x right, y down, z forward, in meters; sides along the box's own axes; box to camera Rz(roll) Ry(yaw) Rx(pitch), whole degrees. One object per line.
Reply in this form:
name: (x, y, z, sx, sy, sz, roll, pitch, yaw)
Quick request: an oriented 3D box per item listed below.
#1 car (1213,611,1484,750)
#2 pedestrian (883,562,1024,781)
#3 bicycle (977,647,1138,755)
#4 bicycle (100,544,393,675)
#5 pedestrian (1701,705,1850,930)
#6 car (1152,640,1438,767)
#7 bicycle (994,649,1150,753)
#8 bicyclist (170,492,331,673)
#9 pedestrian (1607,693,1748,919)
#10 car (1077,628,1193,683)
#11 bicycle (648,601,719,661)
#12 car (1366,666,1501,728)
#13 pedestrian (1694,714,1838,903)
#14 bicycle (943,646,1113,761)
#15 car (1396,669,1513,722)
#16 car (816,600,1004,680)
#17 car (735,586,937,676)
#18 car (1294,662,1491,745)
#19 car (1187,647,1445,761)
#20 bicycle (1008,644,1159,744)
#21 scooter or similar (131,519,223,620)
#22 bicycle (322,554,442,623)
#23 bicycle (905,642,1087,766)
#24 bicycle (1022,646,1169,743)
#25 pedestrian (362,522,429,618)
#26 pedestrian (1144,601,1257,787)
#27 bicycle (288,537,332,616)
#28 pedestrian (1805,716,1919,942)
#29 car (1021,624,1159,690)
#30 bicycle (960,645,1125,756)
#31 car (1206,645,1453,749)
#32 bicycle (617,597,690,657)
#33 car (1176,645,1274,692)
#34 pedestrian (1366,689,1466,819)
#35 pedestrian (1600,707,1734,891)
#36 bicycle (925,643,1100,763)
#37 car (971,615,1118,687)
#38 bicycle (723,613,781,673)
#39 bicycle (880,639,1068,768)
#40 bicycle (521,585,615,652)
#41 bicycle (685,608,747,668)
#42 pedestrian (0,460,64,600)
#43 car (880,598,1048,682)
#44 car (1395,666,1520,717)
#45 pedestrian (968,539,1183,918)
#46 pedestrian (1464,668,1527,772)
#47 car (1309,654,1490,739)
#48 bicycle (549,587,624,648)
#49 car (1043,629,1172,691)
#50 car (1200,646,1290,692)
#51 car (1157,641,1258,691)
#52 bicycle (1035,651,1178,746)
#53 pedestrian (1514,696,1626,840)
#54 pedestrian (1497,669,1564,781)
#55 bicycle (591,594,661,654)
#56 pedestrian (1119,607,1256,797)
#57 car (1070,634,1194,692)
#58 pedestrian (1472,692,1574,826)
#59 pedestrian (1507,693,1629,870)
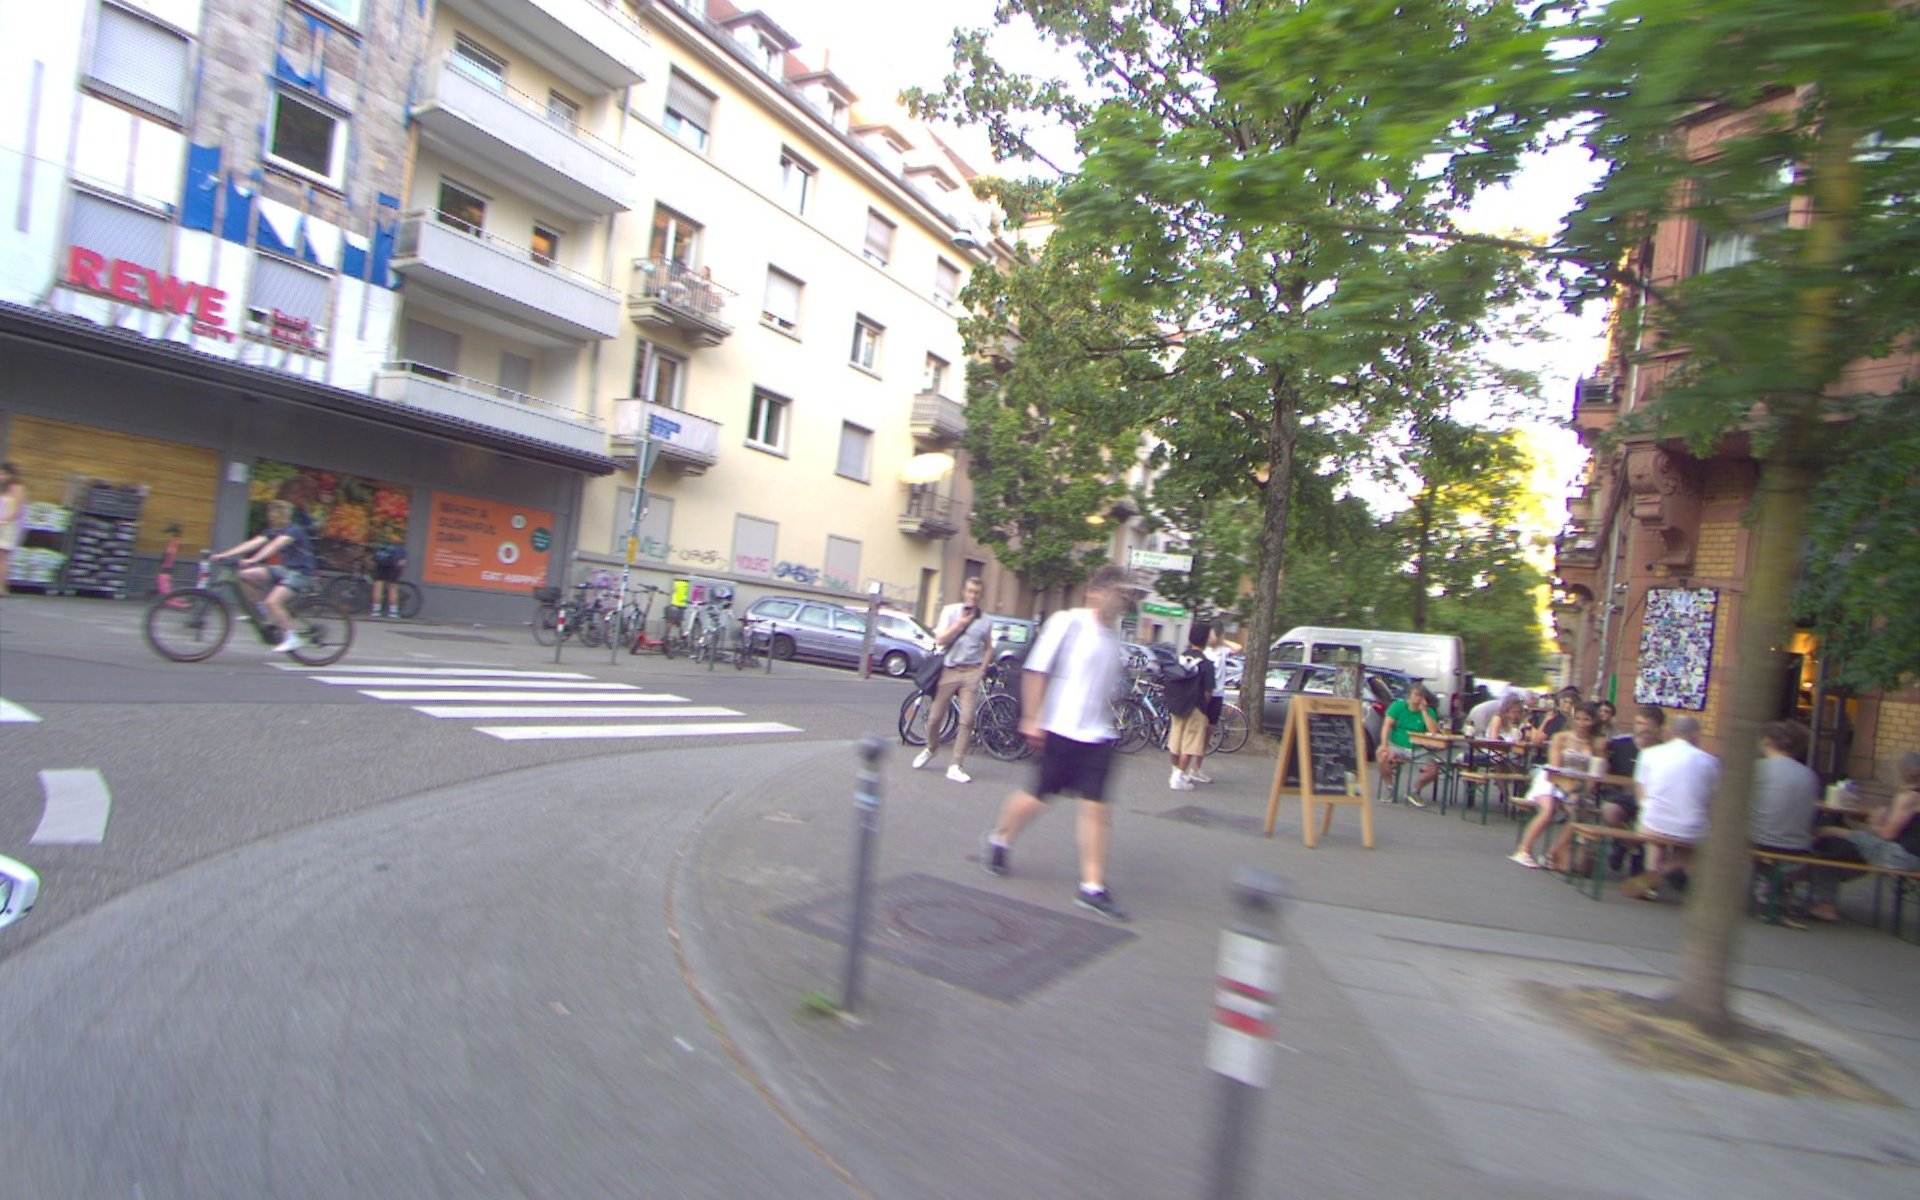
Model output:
car: (9.018, 1.814, 23.488, 5.449, 2.448, 2.244, 5, -2, 30)
pedestrian: (-0.044, 0.653, 9.281, 0.822, 1.849, 0.868, 6, -2, 25)
bicycle: (1.270, 1.313, 13.319, 2.000, 1.147, 0.435, 6, -2, 29)
bicycle: (-7.325, 0.147, 10.477, 0.778, 1.085, 2.280, 7, -1, 34)
pedestrian: (5.556, 1.452, 6.878, 0.458, 1.396, 0.547, 6, -1, 5)
car: (5.727, 1.723, 17.335, 4.224, 1.543, 1.907, 5, -3, 33)
bicycle: (1.509, 1.358, 13.735, 2.000, 1.147, 0.435, 6, -2, 29)
bicyclist: (-7.327, -0.166, 10.409, 0.778, 1.709, 0.995, 7, 0, 34)
pedestrian: (4.862, 1.367, 6.843, 0.458, 1.396, 0.547, 6, -1, 5)
car: (7.525, 2.407, 43.568, 4.463, 1.805, 2.000, 7, -2, -4)
bicycle: (-5.221, 0.616, 19.122, 0.482, 1.038, 2.018, 6, -2, 6)
car: (18.438, 3.760, 39.226, 4.469, 1.805, 1.998, 5, -2, 31)
pedestrian: (6.124, 1.561, 7.671, 0.563, 1.284, 0.547, 6, -1, 8)
bicycle: (0.822, 1.253, 12.483, 2.000, 1.147, 0.435, 6, -2, 29)
car: (22.369, 4.323, 45.542, 4.469, 1.805, 1.998, 5, -2, 31)
car: (-1.292, 1.076, 26.704, 4.458, 1.543, 2.002, 6, -2, 17)
car: (-2.929, 0.755, 24.102, 4.464, 1.543, 2.000, 7, -2, -6)
car: (11.477, 2.722, 26.766, 4.469, 1.543, 1.998, 5, -3, 31)
car: (6.762, 1.937, 19.233, 4.224, 1.543, 1.907, 5, -3, 33)
bicycle: (1.725, 1.314, 14.252, 2.000, 1.147, 0.435, 6, -2, 29)
scooter or similar: (-11.298, -0.448, 14.513, 1.265, 1.281, 0.322, 8, -1, 22)
bicycle: (-10.556, -0.189, 18.455, 0.371, 1.038, 1.880, 6, -3, 31)
bicycle: (0.389, 1.167, 11.610, 2.000, 1.147, 0.435, 6, -2, 29)
bicycle: (1.961, 1.362, 14.698, 2.000, 1.147, 0.435, 6, -2, 29)
pedestrian: (-10.181, -0.545, 18.139, 0.707, 1.619, 0.664, 5, -2, 37)
pedestrian: (2.596, 1.006, 10.961, 0.852, 1.849, 0.838, 6, -1, 2)
bicycle: (-10.804, -0.402, 16.699, 0.346, 1.217, 1.791, 7, -2, -38)
pedestrian: (6.246, 1.522, 6.775, 0.563, 1.396, 0.547, 6, -1, 14)
car: (4.662, 2.054, 36.512, 4.465, 1.805, 2.000, 7, -2, -6)
bicycle: (1.033, 1.265, 12.902, 2.000, 1.147, 0.435, 6, -2, 29)
car: (7.775, 2.015, 21.277, 4.472, 1.543, 1.997, 5, -3, 33)
bicycle: (-5.797, 0.547, 19.146, 0.482, 1.038, 2.018, 6, -2, 6)
car: (13.230, 3.424, 50.485, 4.457, 1.805, 2.003, 6, -2, 12)
pedestrian: (4.840, 1.615, 10.713, 0.726, 1.246, 0.628, 6, -1, 10)
pedestrian: (5.483, 1.520, 7.831, 0.563, 1.284, 0.547, 6, -1, 8)
bicycle: (0.605, 1.206, 12.046, 2.000, 1.147, 0.435, 6, -2, 29)
car: (2.767, 1.693, 33.677, 4.465, 1.805, 2.000, 7, -2, -6)
bicycle: (-3.954, 0.838, 19.243, 0.482, 1.038, 2.018, 6, -2, 3)
bicycle: (0.125, 1.113, 11.147, 2.000, 1.147, 0.435, 6, -2, 29)
bicycle: (-6.952, 0.346, 17.927, 0.371, 1.038, 1.662, 6, -2, 24)
bicycle: (-4.654, 0.752, 19.286, 0.482, 1.038, 2.018, 6, -2, 3)
pedestrian: (-12.406, -0.908, 13.142, 0.657, 1.746, 0.719, 7, -1, -20)
car: (0.182, 1.157, 28.943, 4.458, 1.805, 2.003, 7, -2, 7)
car: (23.886, 4.381, 48.332, 5.113, 1.805, 1.998, 5, -2, 31)
pedestrian: (0.582, 0.657, 5.468, 0.852, 1.790, 0.949, 7, -1, -1)
pedestrian: (9.399, 2.105, 17.662, 0.735, 1.696, 0.764, 5, -2, 36)
car: (12.735, 2.769, 29.184, 4.469, 1.805, 1.998, 5, -2, 31)
bicycle: (-7.107, 0.364, 19.242, 0.370, 1.038, 2.018, 6, -2, 6)
car: (5.661, 2.288, 38.868, 4.463, 1.805, 2.000, 7, -2, -4)
car: (15.743, 3.807, 55.733, 4.457, 1.955, 2.003, 6, -2, 12)
car: (11.830, 3.153, 48.330, 4.457, 1.805, 2.003, 6, -2, 12)
bicycle: (2.183, 1.462, 15.113, 2.000, 1.147, 0.435, 6, -2, 29)
pedestrian: (6.435, 1.748, 10.647, 0.726, 1.361, 0.628, 6, -1, 10)
pedestrian: (9.335, 2.040, 16.446, 0.735, 1.696, 0.764, 5, -2, 36)
bicycle: (-6.334, 0.483, 19.168, 0.370, 1.038, 2.018, 6, -2, 6)
pedestrian: (2.266, 1.007, 10.029, 0.857, 1.743, 0.832, 5, -2, 45)
car: (6.978, 2.547, 41.073, 4.463, 1.805, 2.000, 7, -2, -4)
pedestrian: (6.333, 1.768, 11.349, 0.726, 1.361, 0.628, 6, -1, 10)
pedestrian: (4.865, 1.427, 8.076, 0.563, 1.284, 0.547, 6, -1, 8)
